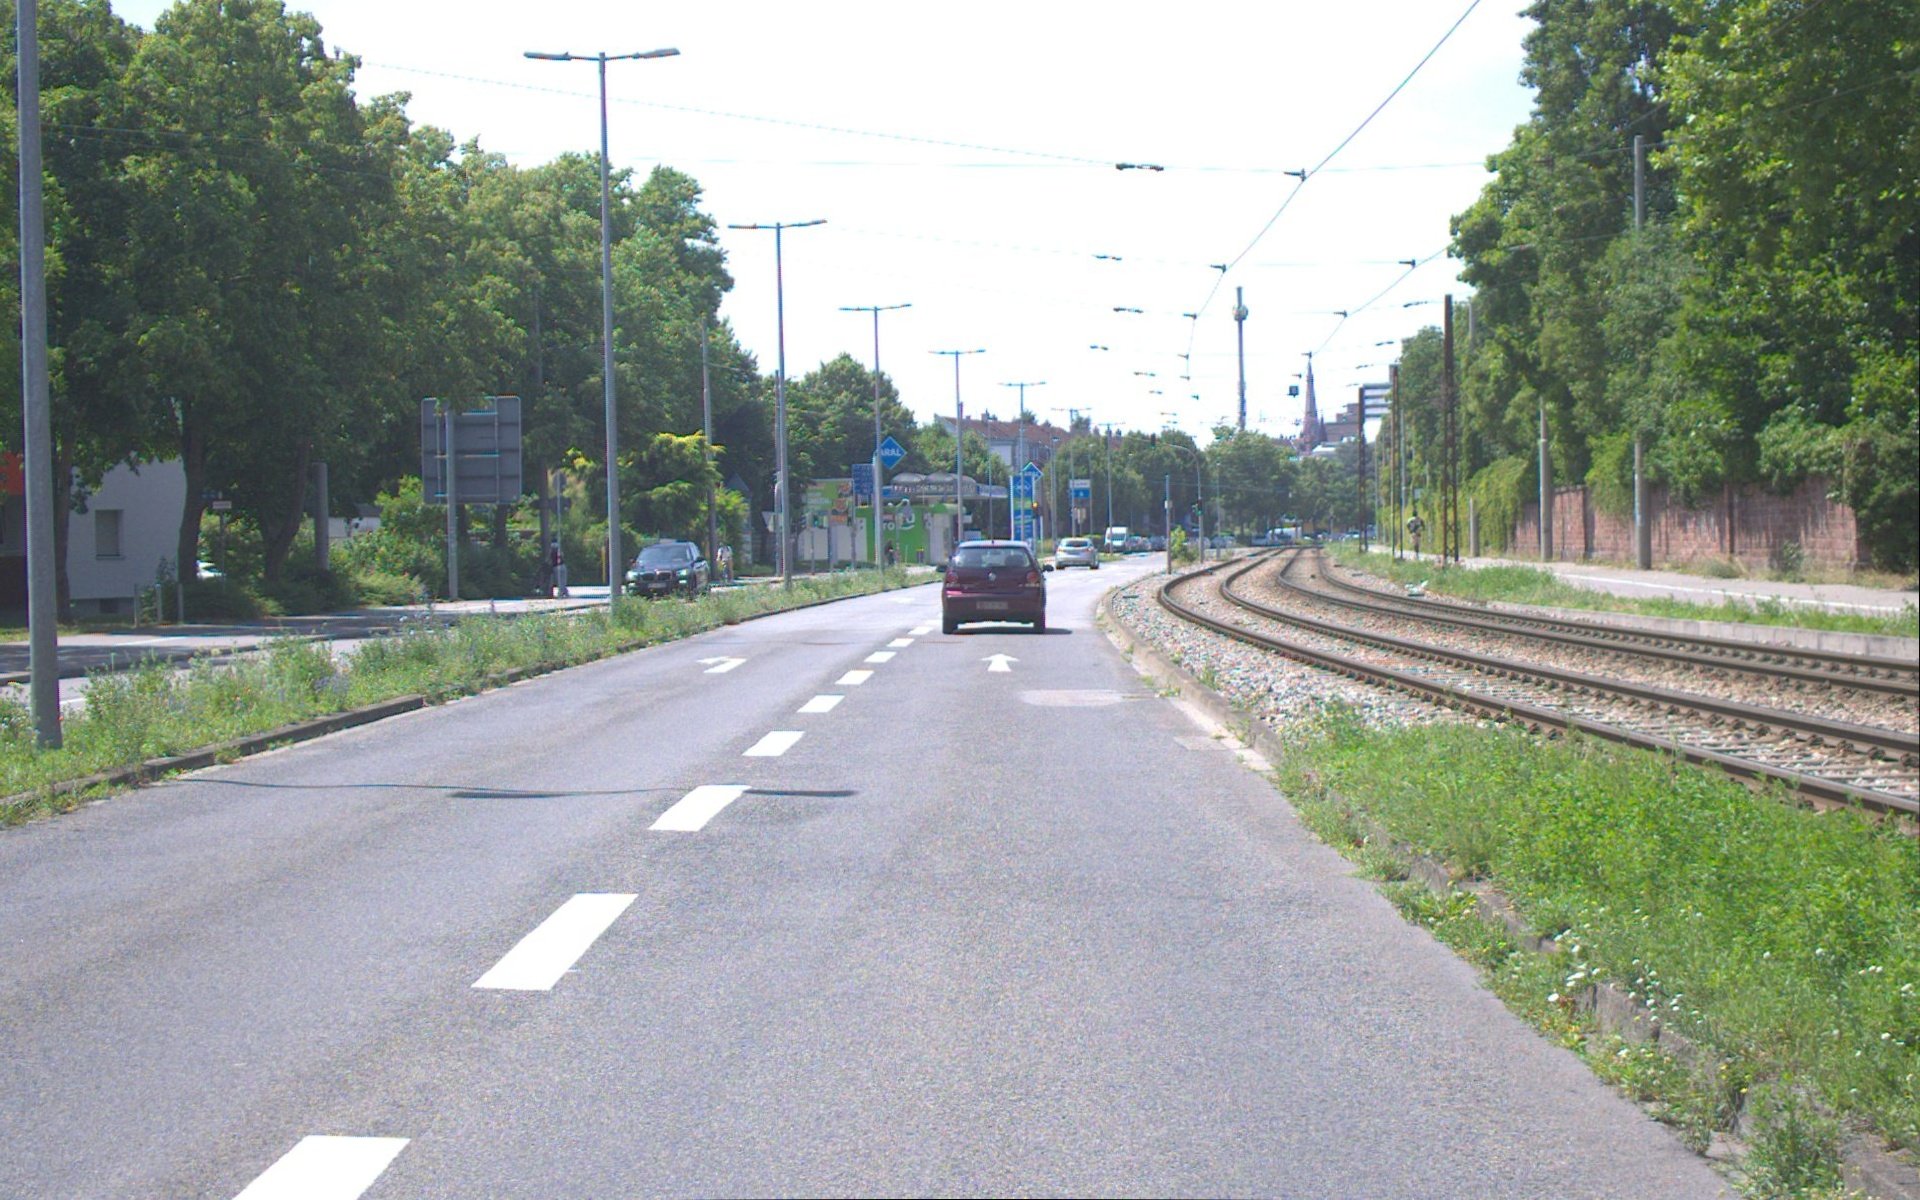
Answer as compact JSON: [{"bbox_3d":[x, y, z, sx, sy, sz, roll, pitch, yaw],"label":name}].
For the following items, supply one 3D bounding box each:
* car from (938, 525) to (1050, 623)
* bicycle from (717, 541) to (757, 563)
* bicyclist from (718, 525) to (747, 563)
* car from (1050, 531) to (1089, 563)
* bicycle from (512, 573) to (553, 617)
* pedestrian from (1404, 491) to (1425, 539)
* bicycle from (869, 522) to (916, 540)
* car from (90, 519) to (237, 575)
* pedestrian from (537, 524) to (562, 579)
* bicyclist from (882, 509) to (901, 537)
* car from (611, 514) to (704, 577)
[{"bbox_3d":[0.550,-0.407,54.719,1.703,1.472,3.716,-1,0,1],"label":"car"},{"bbox_3d":[-8.547,-1.833,131.766,1.428,0.771,0.497,-3,2,-36],"label":"bicycle"},{"bbox_3d":[-8.714,-2.151,131.641,0.961,1.398,0.491,-3,2,-35],"label":"bicyclist"},{"bbox_3d":[5.081,-2.459,159.537,1.703,1.475,3.716,0,1,1],"label":"car"},{"bbox_3d":[-13.586,-0.153,109.266,0.646,1.323,1.572,-2,2,18],"label":"bicycle"},{"bbox_3d":[16.557,-3.108,125.228,0.661,1.720,0.816,-2,1,5],"label":"pedestrian"},{"bbox_3d":[-3.855,-3.936,196.783,2.549,1.034,1.088,0,1,-8],"label":"bicycle"},{"bbox_3d":[-27.794,-1.870,120.073,4.665,1.752,2.000,-2,2,-4],"label":"car"},{"bbox_3d":[-13.043,-1.534,109.247,0.549,1.712,0.603,-1,1,18],"label":"pedestrian"},{"bbox_3d":[-3.907,-4.418,196.800,0.944,1.588,1.088,0,1,-8],"label":"bicyclist"},{"bbox_3d":[-8.309,-1.512,94.777,1.923,1.620,4.756,-3,1,2],"label":"car"}]
